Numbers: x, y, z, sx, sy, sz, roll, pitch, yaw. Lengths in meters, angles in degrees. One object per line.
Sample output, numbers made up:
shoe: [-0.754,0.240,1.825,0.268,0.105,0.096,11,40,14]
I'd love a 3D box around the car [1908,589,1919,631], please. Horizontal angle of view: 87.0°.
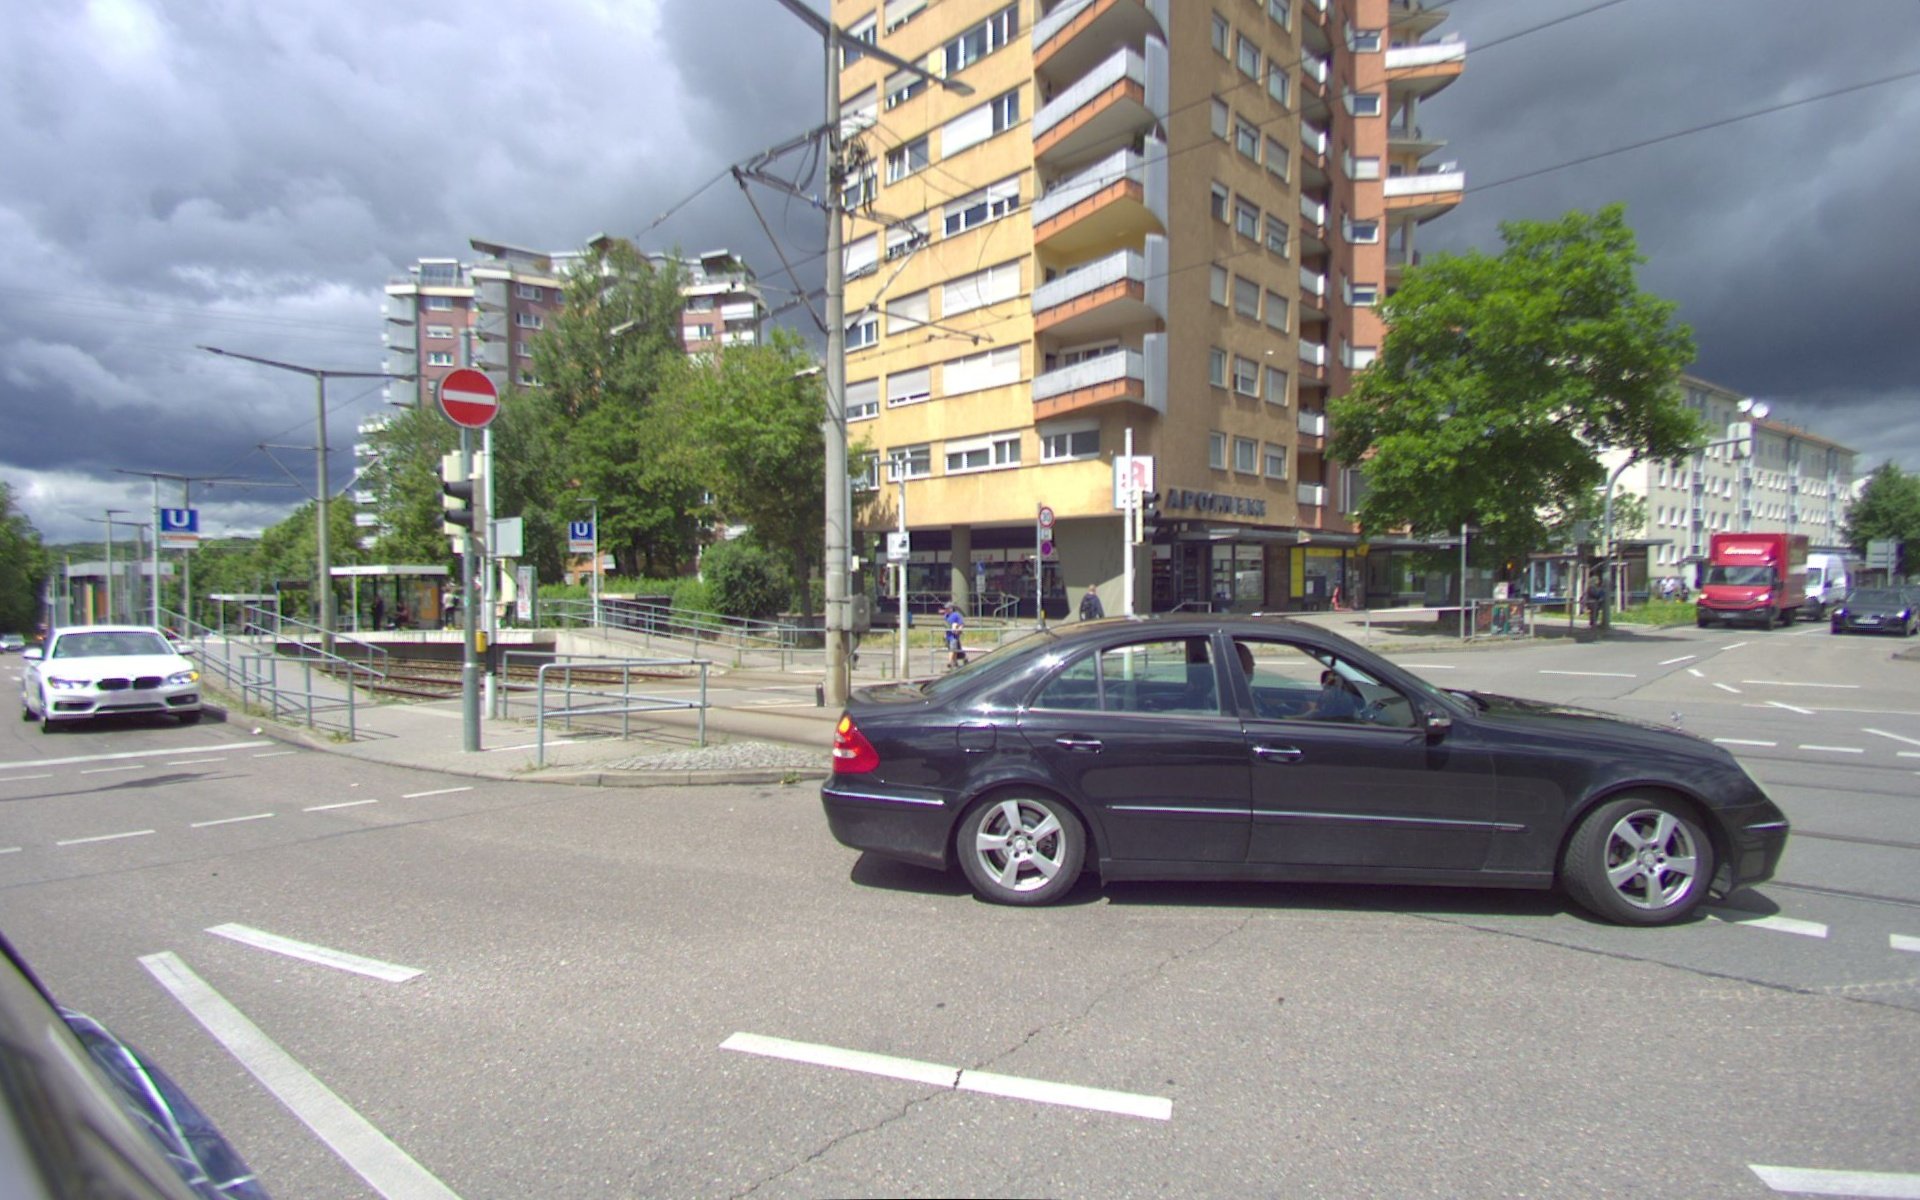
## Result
car: [38.384,0.354,39.108,3.936,1.614,2.004,0,-1,-39]

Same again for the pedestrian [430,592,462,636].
pedestrian: [-19.429,0.524,38.253,0.747,1.618,0.853,-2,-1,43]

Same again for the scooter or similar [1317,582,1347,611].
scooter or similar: [14.394,-0.143,39.174,0.545,1.102,1.730,-2,-1,39]

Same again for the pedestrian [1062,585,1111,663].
pedestrian: [3.265,0.605,26.053,0.853,1.949,0.908,-2,-1,43]

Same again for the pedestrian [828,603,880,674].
pedestrian: [-2.562,0.922,24.519,0.910,1.609,0.712,-2,4,39]

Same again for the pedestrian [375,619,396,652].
pedestrian: [-25.531,1.575,44.995,0.658,1.425,0.637,-2,-1,44]

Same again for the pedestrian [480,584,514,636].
pedestrian: [-16.214,0.360,35.445,0.747,1.787,0.853,-2,-1,43]

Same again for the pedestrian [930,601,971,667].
pedestrian: [-0.230,0.800,23.919,0.649,1.525,0.711,-2,-1,43]

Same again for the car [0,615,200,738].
car: [-12.611,0.984,14.669,4.275,1.462,1.770,0,0,42]

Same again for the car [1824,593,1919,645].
car: [28.027,0.553,30.857,3.938,1.506,2.003,0,-1,-41]

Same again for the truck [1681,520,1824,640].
truck: [27.198,-0.612,34.610,6.990,3.702,2.550,0,-1,-42]

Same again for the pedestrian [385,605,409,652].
pedestrian: [-24.596,1.255,44.211,0.584,2.029,0.770,-2,-1,43]

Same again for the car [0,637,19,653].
car: [-76.191,3.592,80.570,1.779,1.224,4.026,0,-1,-43]

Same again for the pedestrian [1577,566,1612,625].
pedestrian: [19.741,-0.130,31.503,0.637,1.825,0.884,-1,-1,16]

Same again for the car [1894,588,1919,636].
car: [33.845,0.394,34.778,3.936,1.614,2.004,0,-1,-39]

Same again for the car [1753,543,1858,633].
car: [33.389,-0.438,39.900,6.205,3.324,2.003,0,-1,-40]

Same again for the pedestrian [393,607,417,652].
pedestrian: [-23.973,1.273,43.699,0.573,1.946,0.761,-2,-1,41]

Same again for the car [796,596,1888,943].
car: [1.638,0.735,5.500,4.623,1.409,1.971,-1,-1,10]

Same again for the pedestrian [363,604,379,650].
pedestrian: [-27.429,1.253,47.126,0.524,2.158,0.609,0,-1,-43]

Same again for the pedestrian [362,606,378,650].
pedestrian: [-27.673,1.304,47.465,0.558,2.029,0.510,-2,-1,44]

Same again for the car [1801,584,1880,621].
car: [39.501,0.113,45.395,3.936,1.614,2.004,0,-1,-39]

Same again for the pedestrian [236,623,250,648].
pedestrian: [-50.329,2.493,70.998,0.763,1.719,0.767,0,-1,-38]
